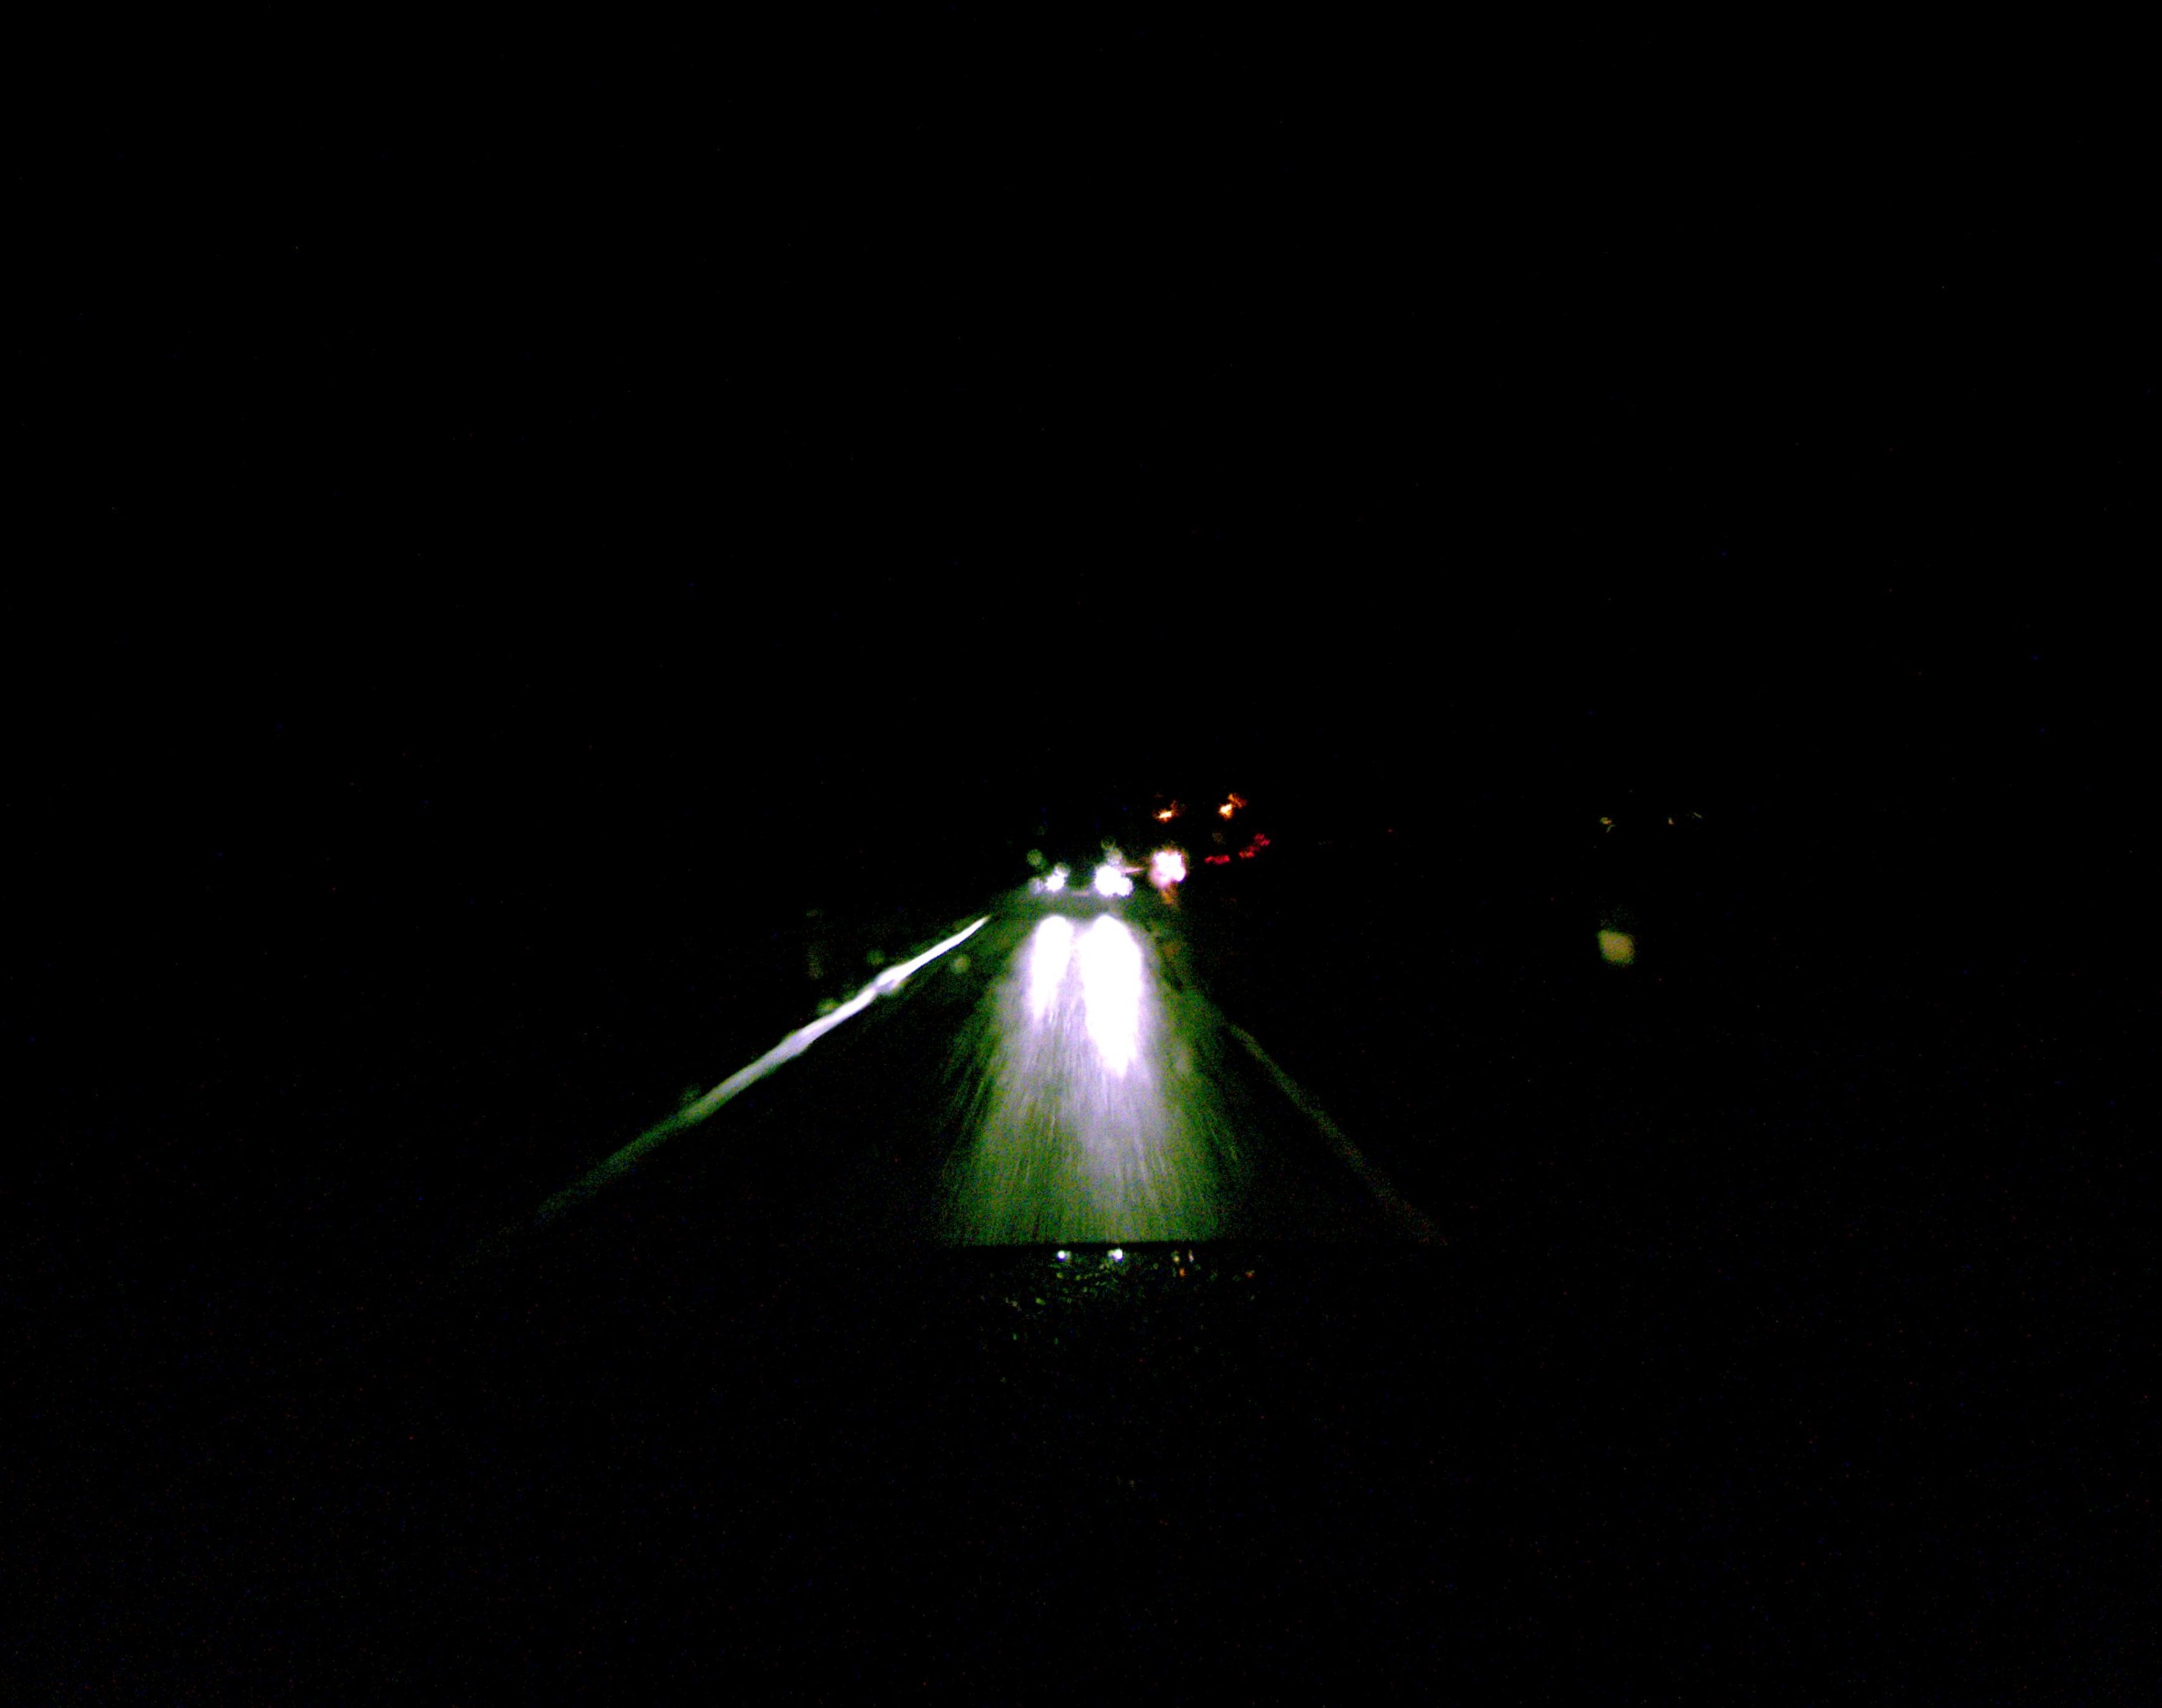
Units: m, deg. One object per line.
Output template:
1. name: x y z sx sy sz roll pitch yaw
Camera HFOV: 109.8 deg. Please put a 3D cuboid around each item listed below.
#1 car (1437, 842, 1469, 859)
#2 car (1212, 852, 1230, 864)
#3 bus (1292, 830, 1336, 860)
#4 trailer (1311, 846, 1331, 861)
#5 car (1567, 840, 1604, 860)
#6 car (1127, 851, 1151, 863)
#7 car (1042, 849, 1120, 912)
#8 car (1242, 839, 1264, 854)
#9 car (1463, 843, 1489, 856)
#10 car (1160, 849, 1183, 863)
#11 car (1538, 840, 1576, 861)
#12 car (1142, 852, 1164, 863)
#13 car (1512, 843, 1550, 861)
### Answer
1. car: 43.038 -0.439 87.989 1.940 1.688 4.627 -3 3 7
2. car: 18.059 0.464 97.827 1.637 1.501 4.101 1 1 19
3. bus: 32.588 -1.362 106.968 2.899 3.847 13.057 -2 2 3
4. trailer: 28.005 -0.119 88.871 1.815 1.668 4.104 2 2 12
5. car: 56.727 -0.453 85.540 1.762 2.045 3.999 -3 3 4
6. car: 7.323 0.378 95.584 1.675 1.557 3.808 0 0 27
7. car: 0.097 0.746 23.347 1.959 1.712 4.001 -2 0 5
8. car: 26.470 -1.146 116.792 1.995 2.002 4.853 -2 1 29
9. car: 55.518 -0.625 106.742 4.046 1.391 1.855 -6 7 -41
10. car: 10.003 0.212 83.552 1.928 1.501 4.099 1 1 14
11. car: 54.348 -0.435 86.857 1.998 2.045 3.999 -3 3 4
12. car: 9.444 0.473 99.921 1.636 1.390 3.681 0 1 27
13. car: 51.333 -0.254 86.761 1.940 1.688 4.627 -3 3 7
